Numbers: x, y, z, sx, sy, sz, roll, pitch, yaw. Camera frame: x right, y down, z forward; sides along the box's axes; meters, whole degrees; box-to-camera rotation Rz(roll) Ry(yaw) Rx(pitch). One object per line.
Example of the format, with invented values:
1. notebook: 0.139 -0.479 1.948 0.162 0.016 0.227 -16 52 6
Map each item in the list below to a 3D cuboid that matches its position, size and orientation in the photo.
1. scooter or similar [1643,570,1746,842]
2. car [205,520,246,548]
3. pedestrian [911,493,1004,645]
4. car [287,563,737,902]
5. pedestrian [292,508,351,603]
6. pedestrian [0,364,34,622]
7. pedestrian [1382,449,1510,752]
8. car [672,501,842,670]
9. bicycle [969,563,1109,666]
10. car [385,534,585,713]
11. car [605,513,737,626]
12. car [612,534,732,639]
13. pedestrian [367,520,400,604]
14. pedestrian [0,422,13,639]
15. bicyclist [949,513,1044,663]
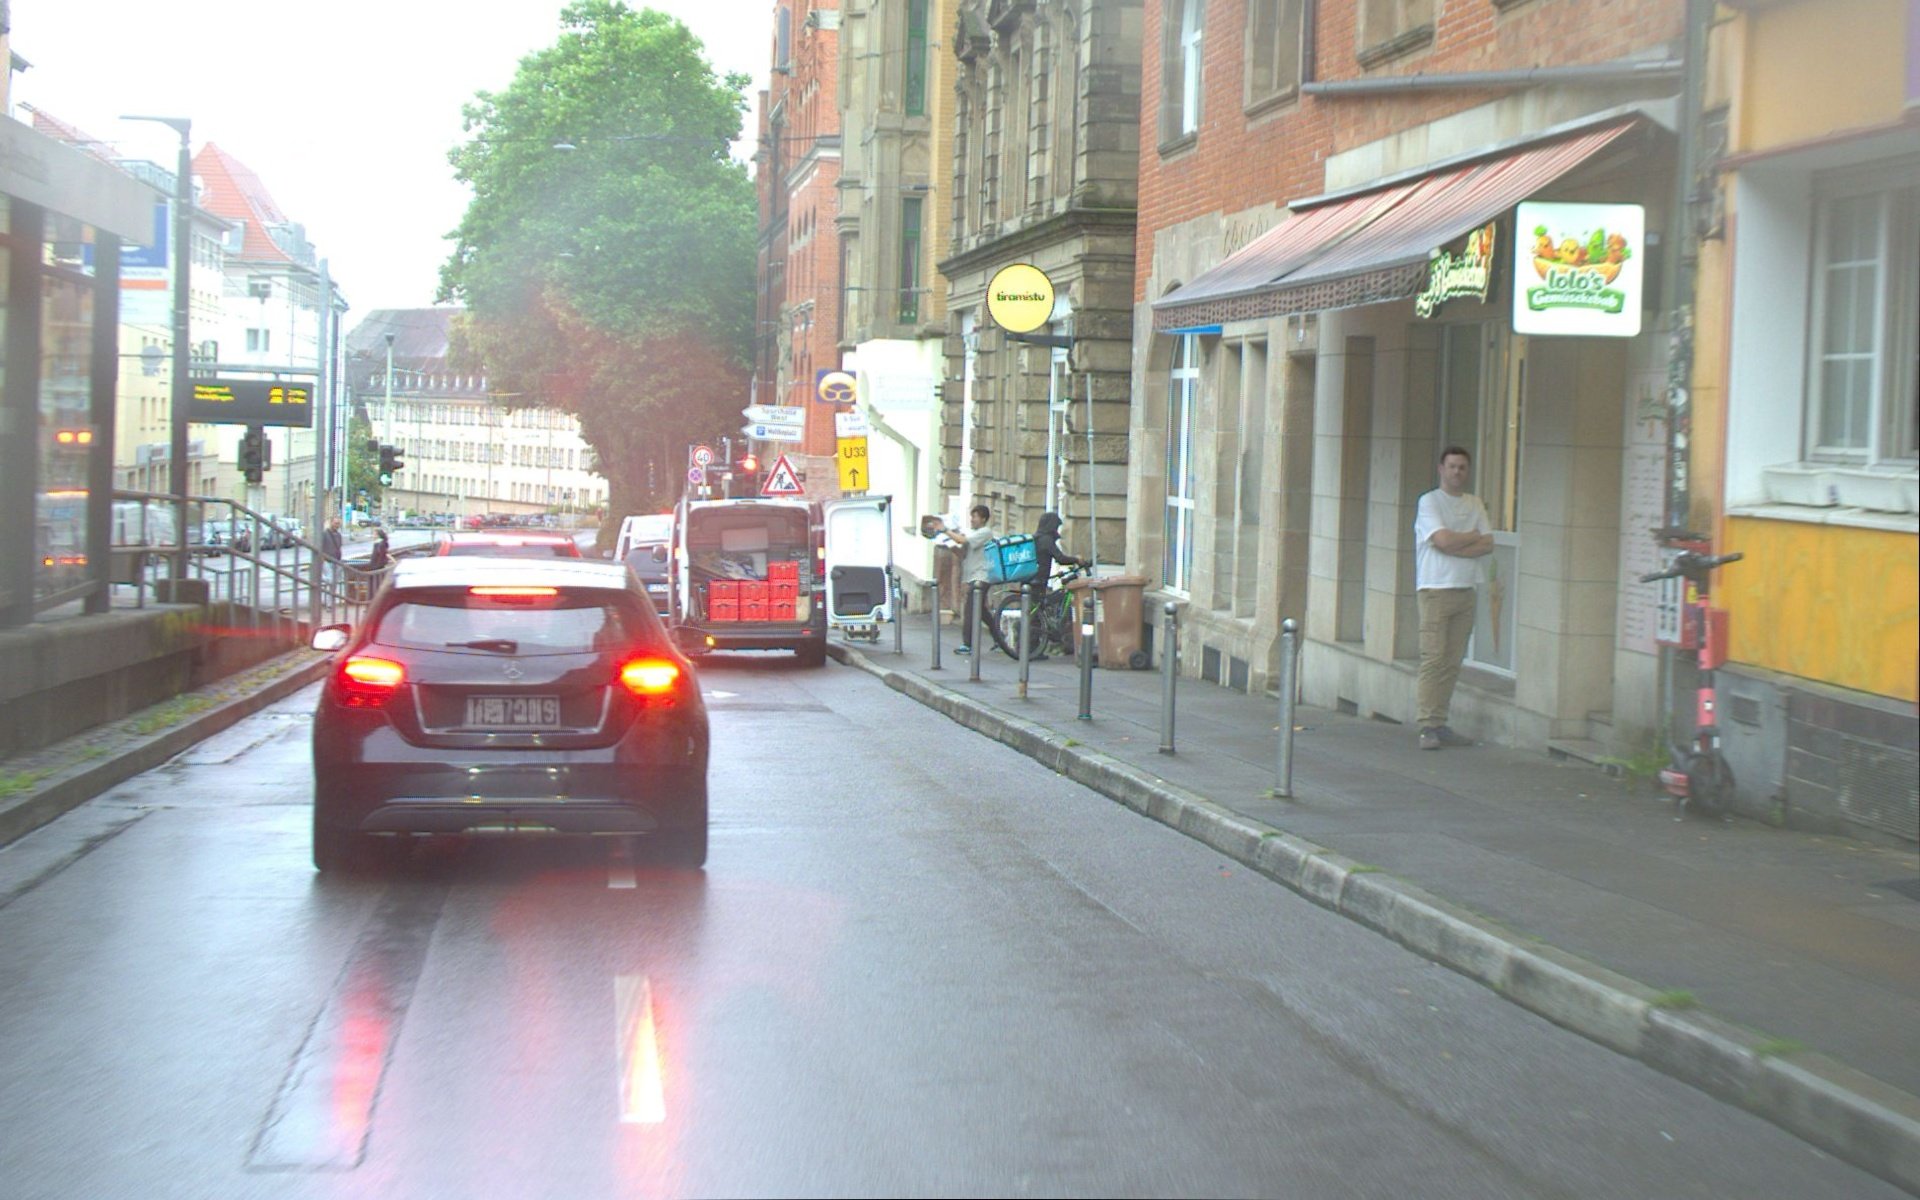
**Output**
1. scooter or similar: 3.464 0.479 16.259 0.257 1.217 1.194 2 1 3
2. car: -31.856 -2.849 149.213 1.395 1.167 3.162 1 1 -6
3. pedestrian: -0.031 -0.364 39.816 0.833 1.748 0.687 0 1 -31
4. car: -2.104 0.552 16.762 1.894 1.385 4.001 1 1 -5
5. pedestrian: -11.727 -0.814 63.124 0.740 1.718 0.739 2 1 41
6. pedestrian: -6.509 -0.709 22.706 0.613 1.682 0.587 1 1 -3
7. pedestrian: 2.994 -0.002 21.215 0.577 1.824 0.564 -2 1 -9
8. car: -2.574 -0.212 42.559 1.920 1.929 4.686 1 1 -5
9. bicycle: 0.877 0.146 38.008 1.684 1.111 0.464 -1 1 -42
10. car: -4.310 0.170 31.169 1.679 1.484 3.614 1 1 -8
11. car: -5.029 -0.556 59.417 1.932 1.825 4.282 1 1 -9
12. car: -4.334 -0.235 52.152 1.713 1.464 4.282 1 1 -4
13. pedestrian: -10.593 -0.696 63.171 0.531 1.525 0.437 1 1 -14
14. pedestrian: -5.722 -0.399 19.400 0.613 1.222 0.507 1 1 -3
15. bicyclist: 0.410 -0.138 38.251 0.848 1.651 0.631 -1 1 -40
